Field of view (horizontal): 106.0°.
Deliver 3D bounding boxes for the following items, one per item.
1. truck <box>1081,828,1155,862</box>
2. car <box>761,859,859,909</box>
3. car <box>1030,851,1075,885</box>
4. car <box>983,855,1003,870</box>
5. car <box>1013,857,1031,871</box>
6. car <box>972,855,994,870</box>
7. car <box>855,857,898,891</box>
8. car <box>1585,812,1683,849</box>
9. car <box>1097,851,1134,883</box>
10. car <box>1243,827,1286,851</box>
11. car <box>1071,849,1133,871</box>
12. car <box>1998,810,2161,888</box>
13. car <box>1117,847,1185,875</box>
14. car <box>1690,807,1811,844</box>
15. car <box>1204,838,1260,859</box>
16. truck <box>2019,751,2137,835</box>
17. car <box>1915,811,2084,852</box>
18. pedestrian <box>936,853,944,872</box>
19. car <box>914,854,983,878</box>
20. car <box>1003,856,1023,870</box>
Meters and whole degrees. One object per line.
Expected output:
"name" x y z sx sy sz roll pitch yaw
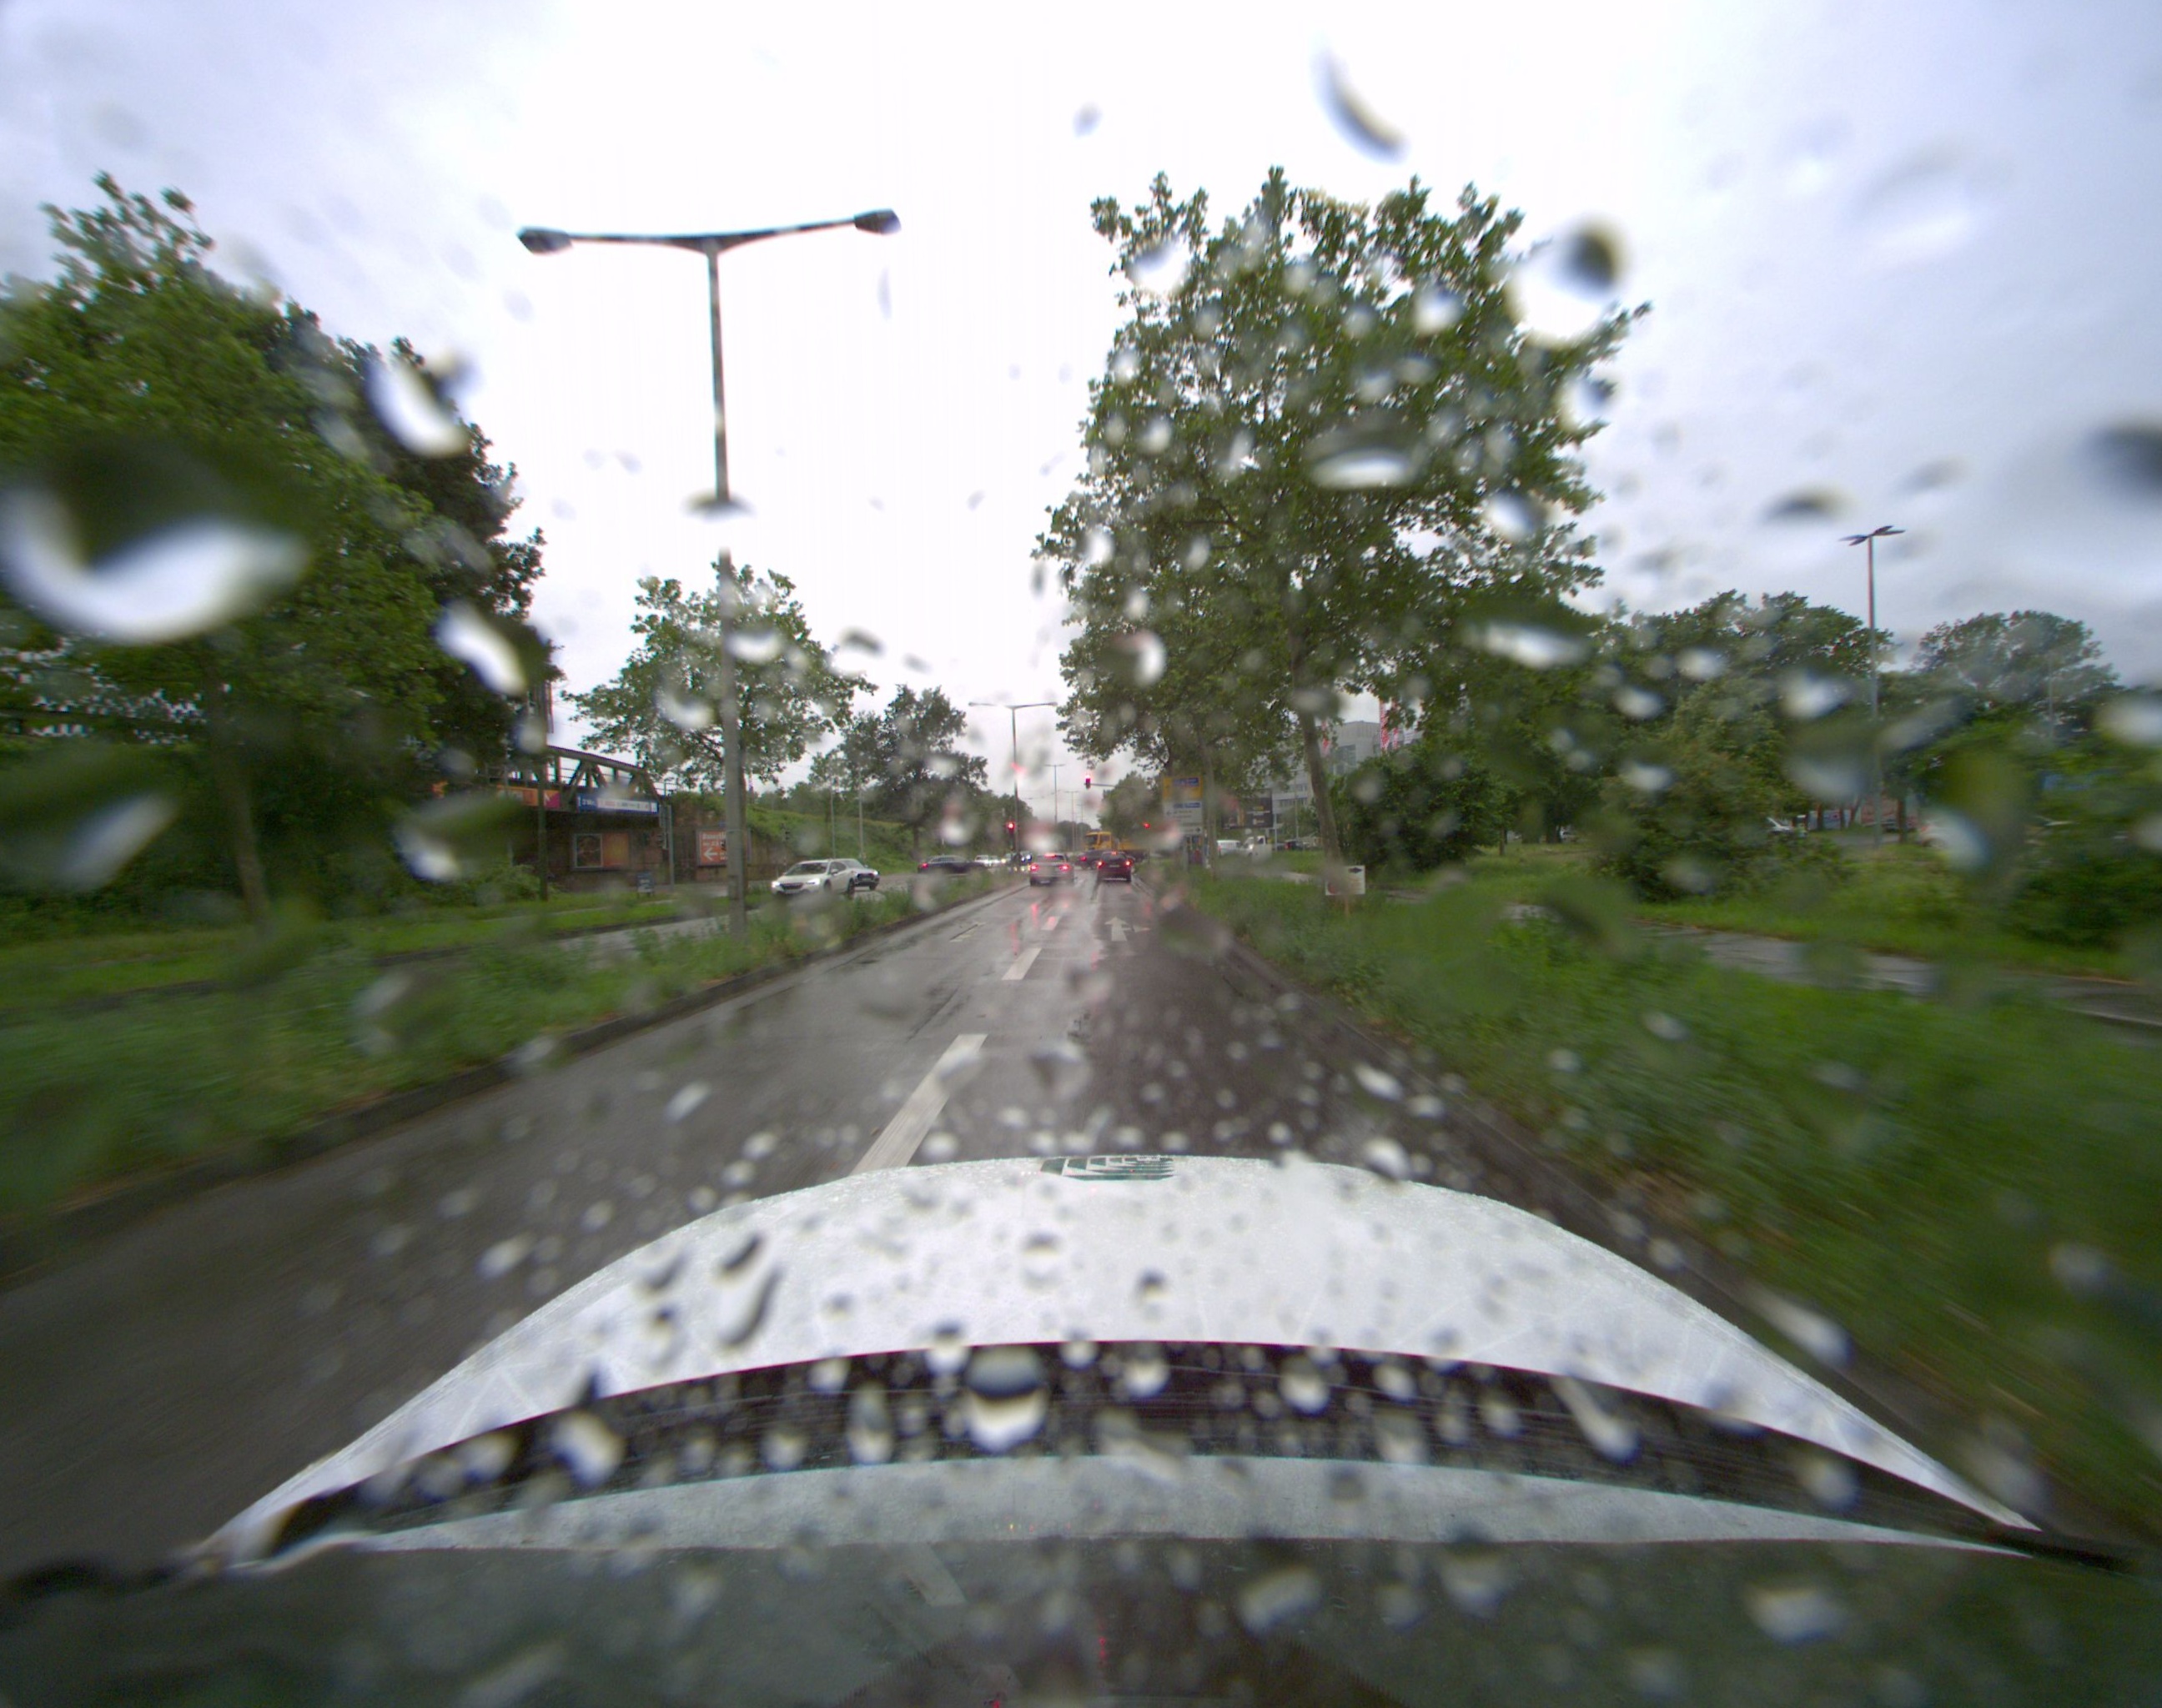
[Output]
"truck" 3.637 -0.925 79.475 7.079 3.054 2.618 -2 0 -35
"car" -9.643 1.011 29.379 1.849 1.589 4.521 -2 0 2
"car" -1.250 0.613 37.459 1.683 1.433 4.576 -1 0 2
"car" -10.202 0.976 95.108 1.706 1.530 4.002 -2 0 2
"car" -6.962 1.139 96.859 1.706 1.530 4.002 -2 0 2
"car" -10.608 0.904 88.575 1.706 1.530 4.002 -2 0 2
"car" -10.370 0.975 41.615 1.858 1.589 4.500 -2 0 -12
"car" 35.340 -1.477 52.168 1.815 2.153 4.860 -1 0 -39
"car" 1.741 0.629 41.376 1.789 1.537 4.389 0 0 2
"car" 19.563 -1.620 86.567 4.404 2.190 1.783 -5 1 -33
"car" 1.605 0.457 62.536 4.397 1.537 1.786 -1 0 -28
"car" 20.343 -0.085 15.422 3.977 1.365 1.866 0 -1 -3
"car" 4.692 0.435 54.154 4.409 1.537 1.782 -4 2 -38
"car" 51.098 -2.124 62.338 2.338 2.434 6.752 -1 0 -34
"car" 12.677 -0.464 68.444 4.397 1.537 1.786 -2 0 -28
"truck" 50.499 -2.942 41.195 8.321 3.810 2.972 -1 0 -34
"car" 34.329 -0.789 30.540 2.007 1.365 3.959 0 -1 -33
"pedestrian" -13.742 0.846 79.492 0.528 1.786 0.676 -1 -1 19
"car" -9.250 0.826 56.796 4.397 1.537 1.786 -2 0 -28
"car" -7.505 0.973 89.710 1.706 1.530 4.002 -2 0 2
